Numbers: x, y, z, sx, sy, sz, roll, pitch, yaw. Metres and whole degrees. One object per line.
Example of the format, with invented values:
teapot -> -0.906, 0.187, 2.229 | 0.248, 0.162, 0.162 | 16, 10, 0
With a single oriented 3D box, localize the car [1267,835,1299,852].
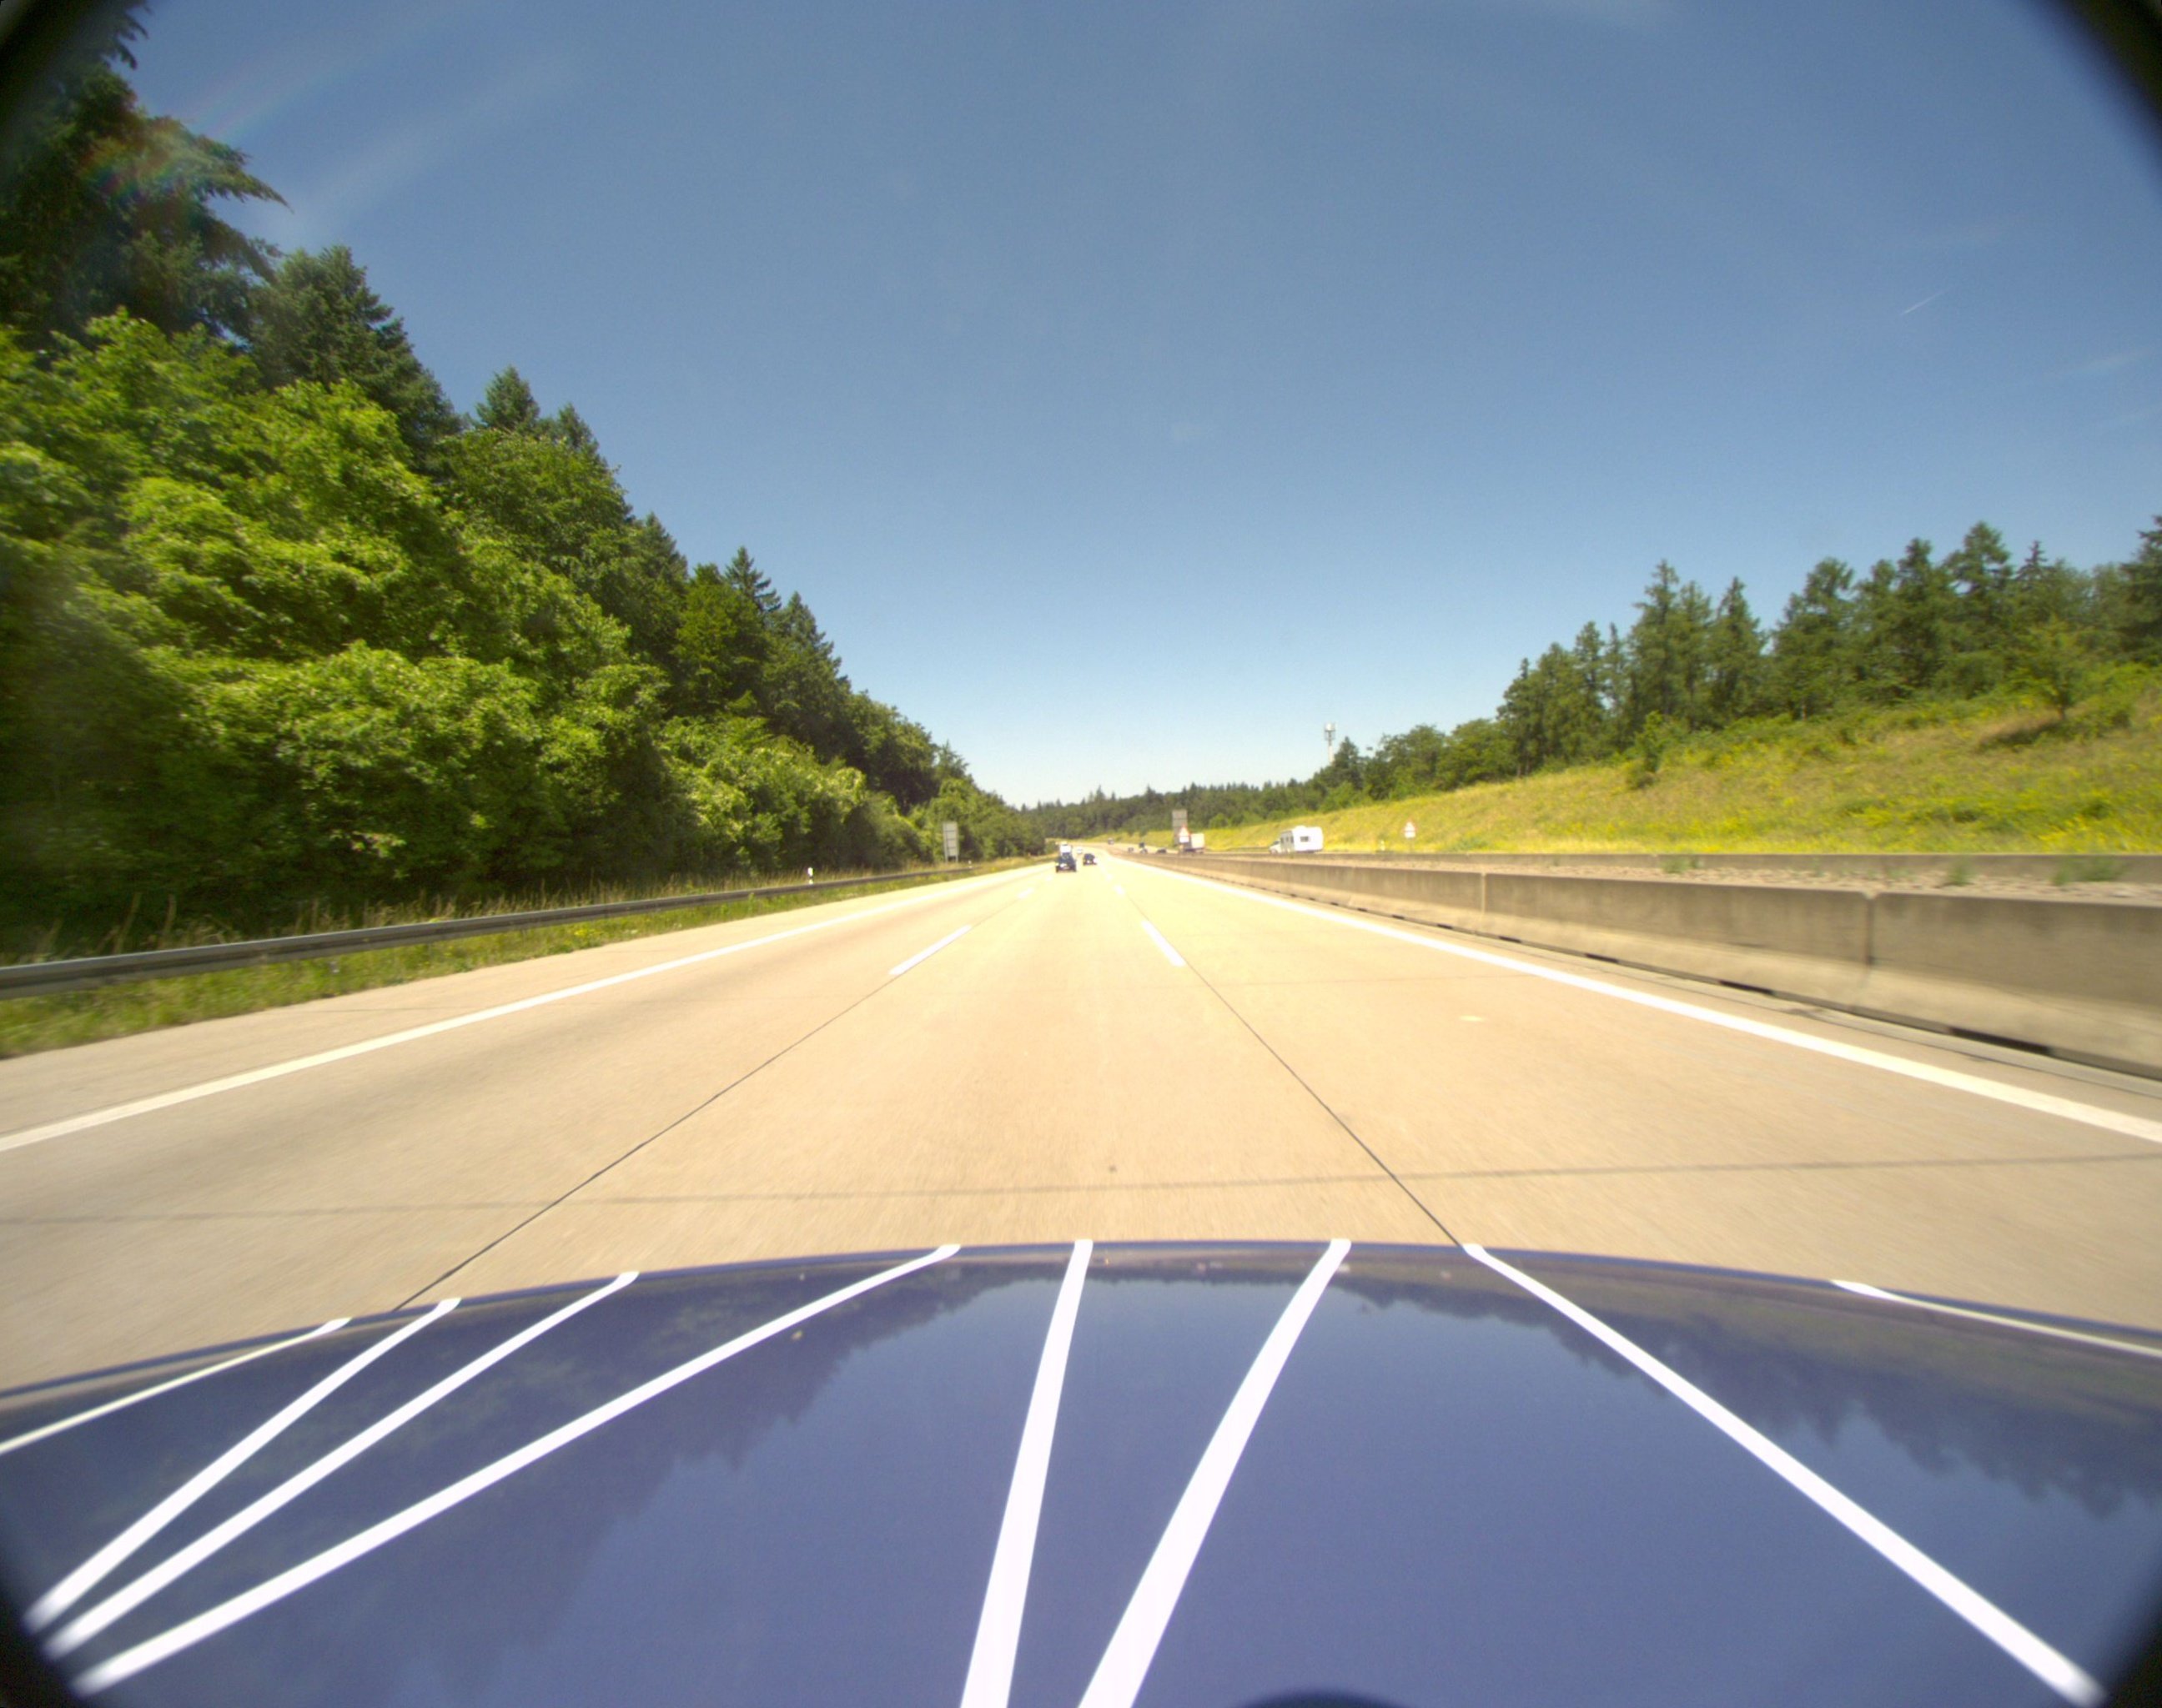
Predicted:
car -> 21.004, -1.078, 79.266 | 1.998, 1.650, 5.373 | -3, 0, 1

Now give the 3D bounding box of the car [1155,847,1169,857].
car -> 14.502, -0.331, 135.786 | 1.998, 1.549, 4.498 | -3, 0, 1

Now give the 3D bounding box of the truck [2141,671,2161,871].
truck -> 19.753, -1.464, 10.897 | 2.732, 3.394, 4.511 | -4, 1, 1

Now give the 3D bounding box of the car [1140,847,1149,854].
car -> 15.832, -0.874, 189.878 | 1.998, 1.682, 4.371 | -4, 0, 1

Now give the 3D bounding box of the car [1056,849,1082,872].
car -> -1.019, 0.523, 66.034 | 1.931, 1.694, 4.399 | -4, 1, 2

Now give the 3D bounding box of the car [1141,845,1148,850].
car -> 21.627, -2.118, 260.522 | 1.998, 1.555, 4.000 | -4, 0, 1

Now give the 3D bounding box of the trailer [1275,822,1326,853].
trailer -> 20.855, -1.501, 72.653 | 2.612, 2.616, 7.781 | -3, 0, 1

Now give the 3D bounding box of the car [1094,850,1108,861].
car -> 3.257, 0.230, 125.032 | 1.998, 1.694, 4.400 | -4, 1, 3

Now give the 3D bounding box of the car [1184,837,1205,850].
car -> 14.015, -1.266, 94.106 | 1.998, 1.510, 4.000 | -3, 0, 1

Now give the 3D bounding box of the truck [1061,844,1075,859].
truck -> -2.726, -0.588, 163.131 | 2.483, 2.780, 5.915 | -4, 1, 2

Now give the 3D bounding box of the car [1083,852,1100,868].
car -> 1.341, 0.726, 95.474 | 1.998, 1.694, 4.399 | -4, 1, 2

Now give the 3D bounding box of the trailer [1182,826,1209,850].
trailer -> 23.009, -3.271, 153.556 | 3.395, 4.406, 13.922 | -4, 1, 1

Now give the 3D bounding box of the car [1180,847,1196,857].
car -> 18.289, -0.411, 130.167 | 1.998, 1.549, 4.498 | -3, 0, 1
